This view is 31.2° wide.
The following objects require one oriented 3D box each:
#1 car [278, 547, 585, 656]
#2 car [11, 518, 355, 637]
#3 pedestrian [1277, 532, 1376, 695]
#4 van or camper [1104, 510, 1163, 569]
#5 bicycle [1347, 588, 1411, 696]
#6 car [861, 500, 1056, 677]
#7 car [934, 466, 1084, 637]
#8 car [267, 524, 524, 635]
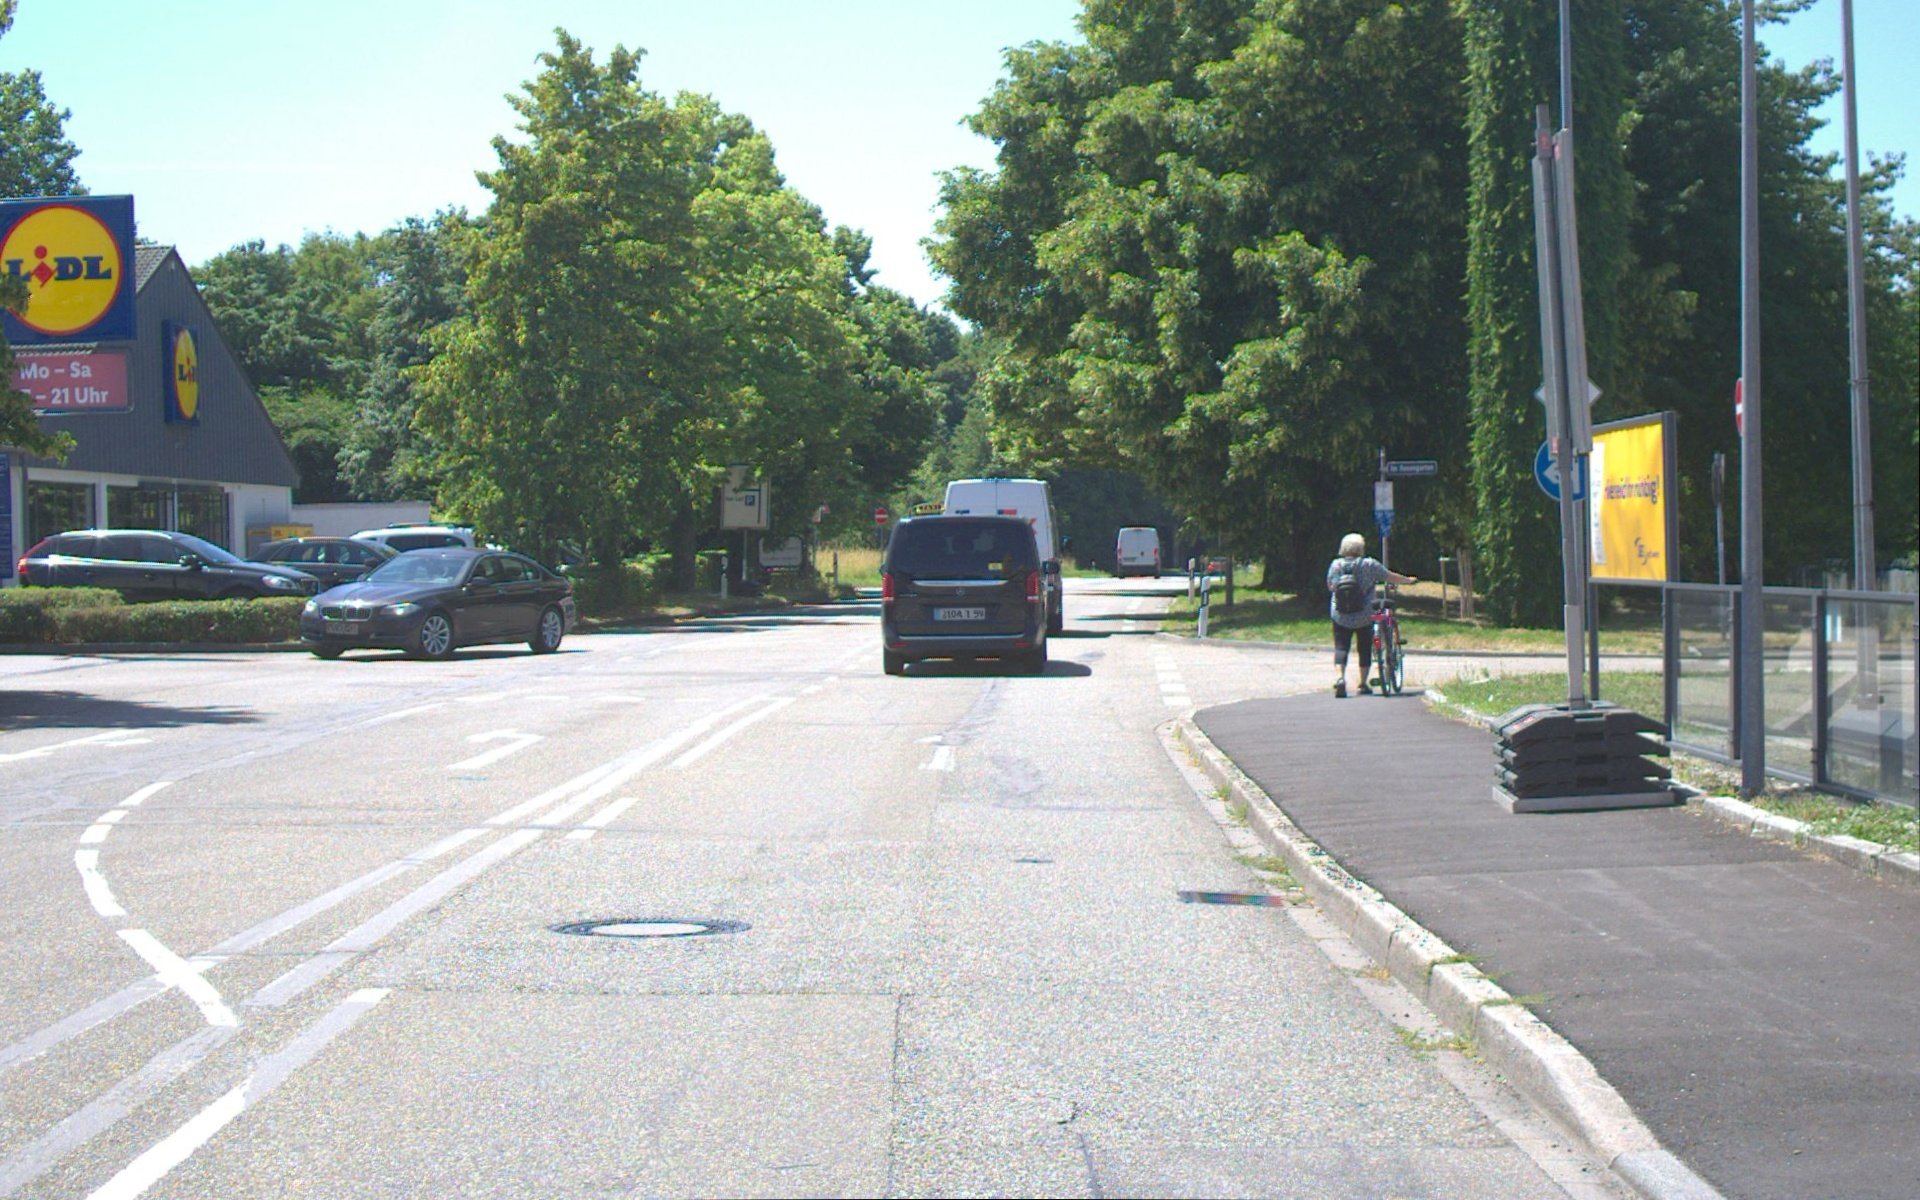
[{"bbox_3d":[-7.076,0.011,46.560,1.934,1.396,4.683,1,0,23],"label":"car"},{"bbox_3d":[-11.864,-0.345,52.660,4.709,1.756,2.098,0,0,7],"label":"car"},{"bbox_3d":[3.254,0.110,30.499,0.769,1.416,0.867,0,1,13],"label":"pedestrian"},{"bbox_3d":[8.795,-3.070,175.023,2.631,2.919,5.207,1,0,-1],"label":"van or camper"},{"bbox_3d":[3.696,0.358,30.282,0.378,0.909,1.597,0,1,14],"label":"bicycle"},{"bbox_3d":[0.048,-0.157,41.239,1.994,1.946,5.004,2,1,3],"label":"car"},{"bbox_3d":[0.865,-0.802,57.474,2.078,2.693,4.665,2,1,5],"label":"car"},{"bbox_3d":[-10.284,-0.376,62.839,4.356,1.973,1.905,0,0,1],"label":"car"}]
